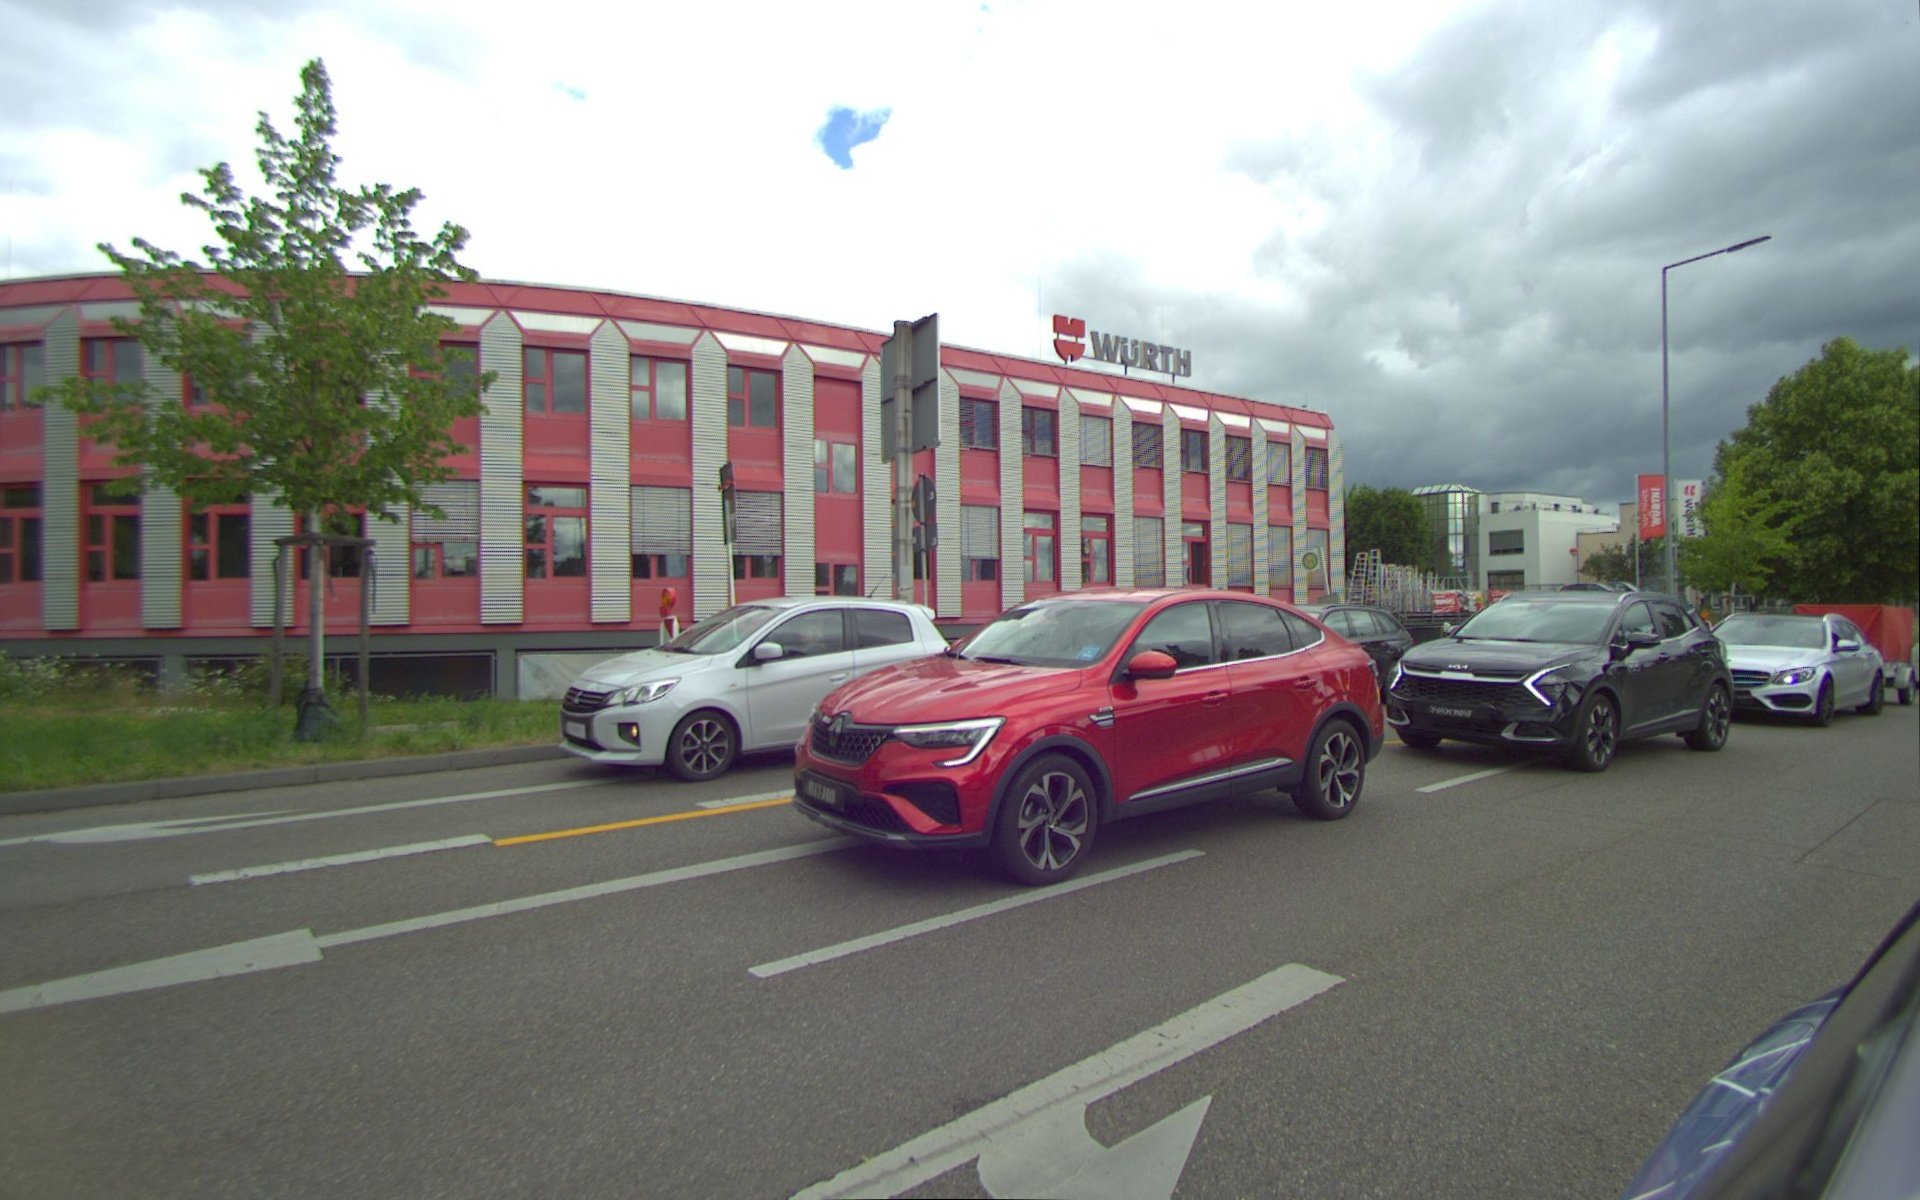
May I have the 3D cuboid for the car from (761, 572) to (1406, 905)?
[{"bbox_3d":[1.006,0.640,6.673,4.239,1.543,1.712,0,0,-37],"label":"car"}]

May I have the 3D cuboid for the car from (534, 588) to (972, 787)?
[{"bbox_3d":[-1.783,0.664,9.310,3.624,1.476,1.626,1,-1,-41],"label":"car"}]

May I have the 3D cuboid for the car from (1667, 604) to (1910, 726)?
[{"bbox_3d":[11.815,0.812,14.330,4.405,1.466,1.676,1,0,-37],"label":"car"}]

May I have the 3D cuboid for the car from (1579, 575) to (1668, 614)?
[{"bbox_3d":[36.173,-0.272,55.247,1.610,1.984,3.769,3,-3,-31],"label":"car"}]

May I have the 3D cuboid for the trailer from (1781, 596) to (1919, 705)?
[{"bbox_3d":[14.878,0.775,16.639,3.242,1.614,1.413,1,0,-37],"label":"trailer"}]

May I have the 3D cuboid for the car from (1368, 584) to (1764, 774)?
[{"bbox_3d":[6.314,0.651,10.394,4.319,1.581,1.851,0,0,-34],"label":"car"}]

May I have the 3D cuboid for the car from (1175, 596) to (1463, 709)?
[{"bbox_3d":[5.367,0.695,14.975,4.194,1.451,1.843,1,0,-33],"label":"car"}]

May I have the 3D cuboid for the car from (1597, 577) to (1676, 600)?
[{"bbox_3d":[44.146,-0.741,66.082,1.721,1.501,3.942,0,0,-31],"label":"car"}]
